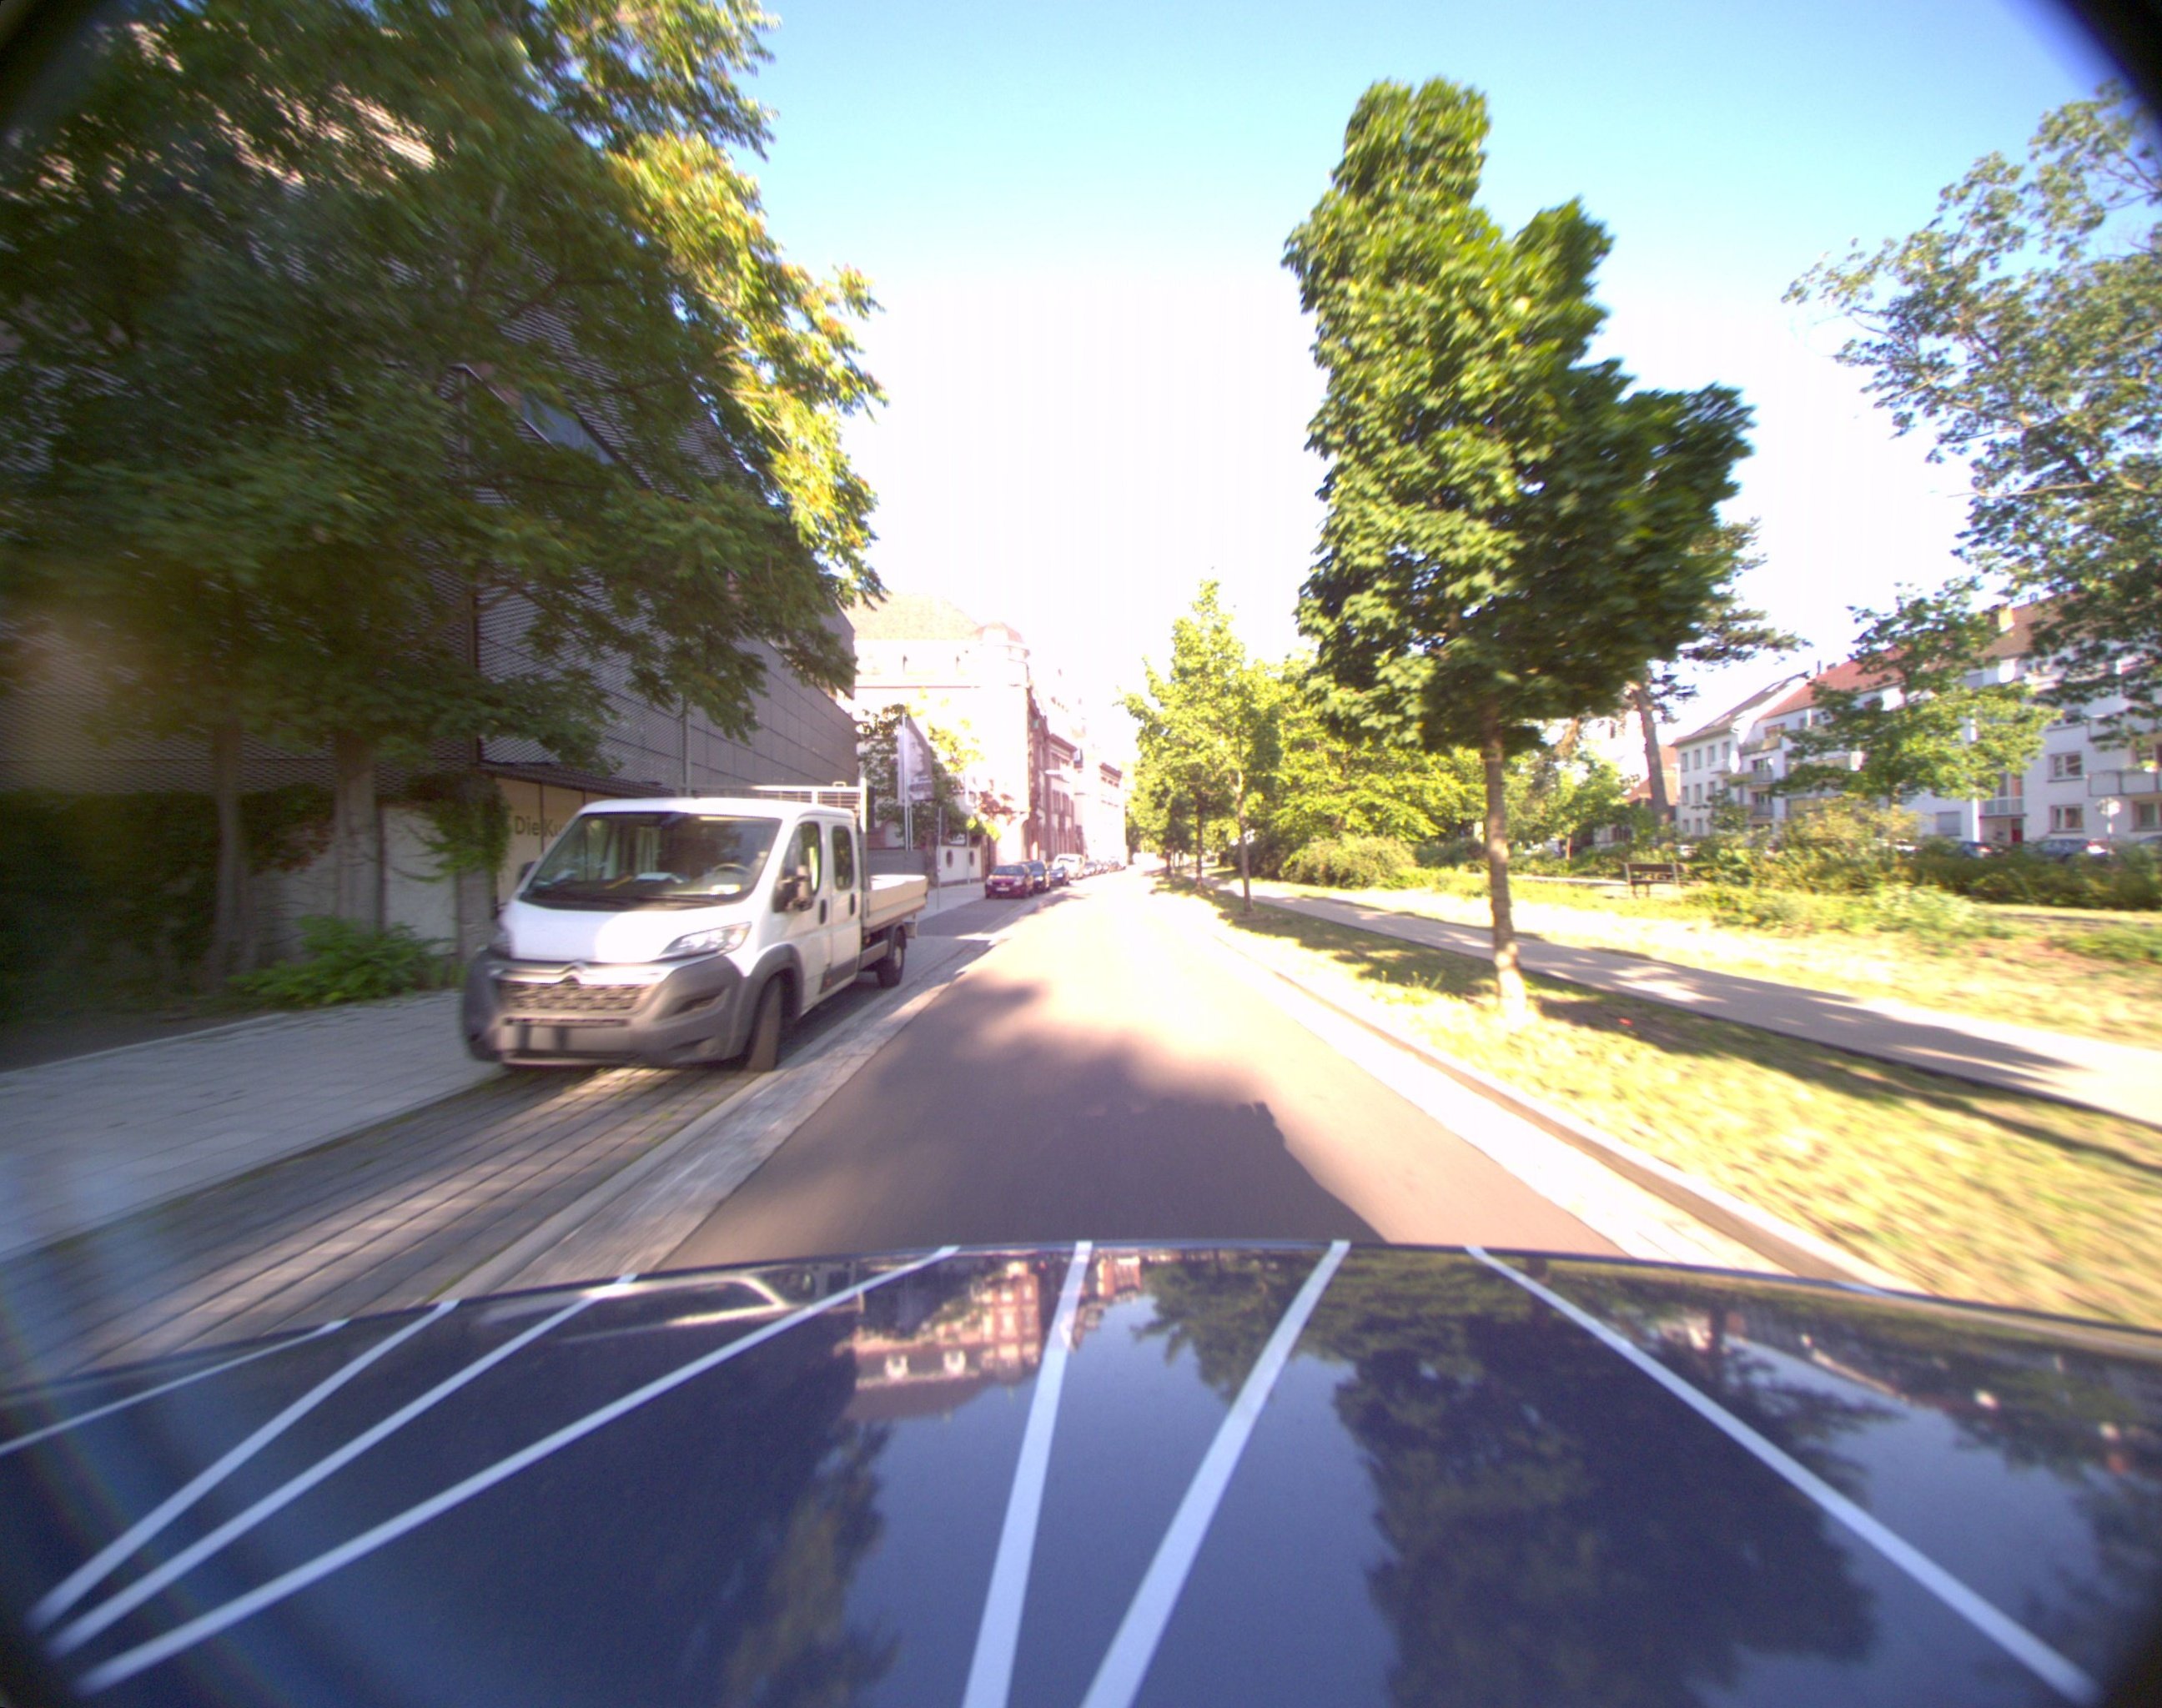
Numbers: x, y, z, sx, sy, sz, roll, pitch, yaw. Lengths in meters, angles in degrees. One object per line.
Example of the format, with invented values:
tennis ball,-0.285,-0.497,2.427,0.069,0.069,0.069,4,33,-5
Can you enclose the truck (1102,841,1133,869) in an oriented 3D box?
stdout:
truck,4.727,0.131,96.484,3.018,3.422,7.628,-1,0,9

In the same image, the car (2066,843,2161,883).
car,46.352,0.365,32.862,1.888,1.565,4.600,-1,2,8

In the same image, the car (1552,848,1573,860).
car,68.067,-0.062,107.416,1.886,1.565,4.606,0,2,25

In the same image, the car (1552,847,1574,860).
car,64.300,-0.111,101.332,1.886,1.565,4.606,0,2,25

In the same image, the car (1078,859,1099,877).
car,0.717,1.265,68.983,1.583,1.499,3.848,-1,0,4

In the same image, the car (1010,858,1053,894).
car,-2.357,1.038,37.008,1.610,1.608,3.951,-1,0,3

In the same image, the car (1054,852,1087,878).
car,-0.760,0.836,59.832,2.119,1.942,4.762,-1,0,5

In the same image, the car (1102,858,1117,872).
car,3.294,1.292,86.879,1.583,1.499,3.848,-1,0,5

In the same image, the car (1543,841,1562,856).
car,71.946,-0.833,115.909,1.886,2.114,4.606,0,2,25

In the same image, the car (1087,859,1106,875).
car,1.538,1.263,74.842,1.583,1.499,3.848,-1,0,5

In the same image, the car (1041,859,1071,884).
car,-1.494,1.086,47.358,1.509,1.437,3.730,-1,0,3

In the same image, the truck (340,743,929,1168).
truck,-3.388,0.603,8.046,2.134,2.549,6.876,-1,0,0

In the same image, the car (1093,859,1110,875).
car,2.220,1.340,79.890,1.583,1.499,3.848,-1,0,5

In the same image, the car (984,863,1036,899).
car,-2.893,1.073,31.506,1.610,1.349,3.548,-1,0,3
